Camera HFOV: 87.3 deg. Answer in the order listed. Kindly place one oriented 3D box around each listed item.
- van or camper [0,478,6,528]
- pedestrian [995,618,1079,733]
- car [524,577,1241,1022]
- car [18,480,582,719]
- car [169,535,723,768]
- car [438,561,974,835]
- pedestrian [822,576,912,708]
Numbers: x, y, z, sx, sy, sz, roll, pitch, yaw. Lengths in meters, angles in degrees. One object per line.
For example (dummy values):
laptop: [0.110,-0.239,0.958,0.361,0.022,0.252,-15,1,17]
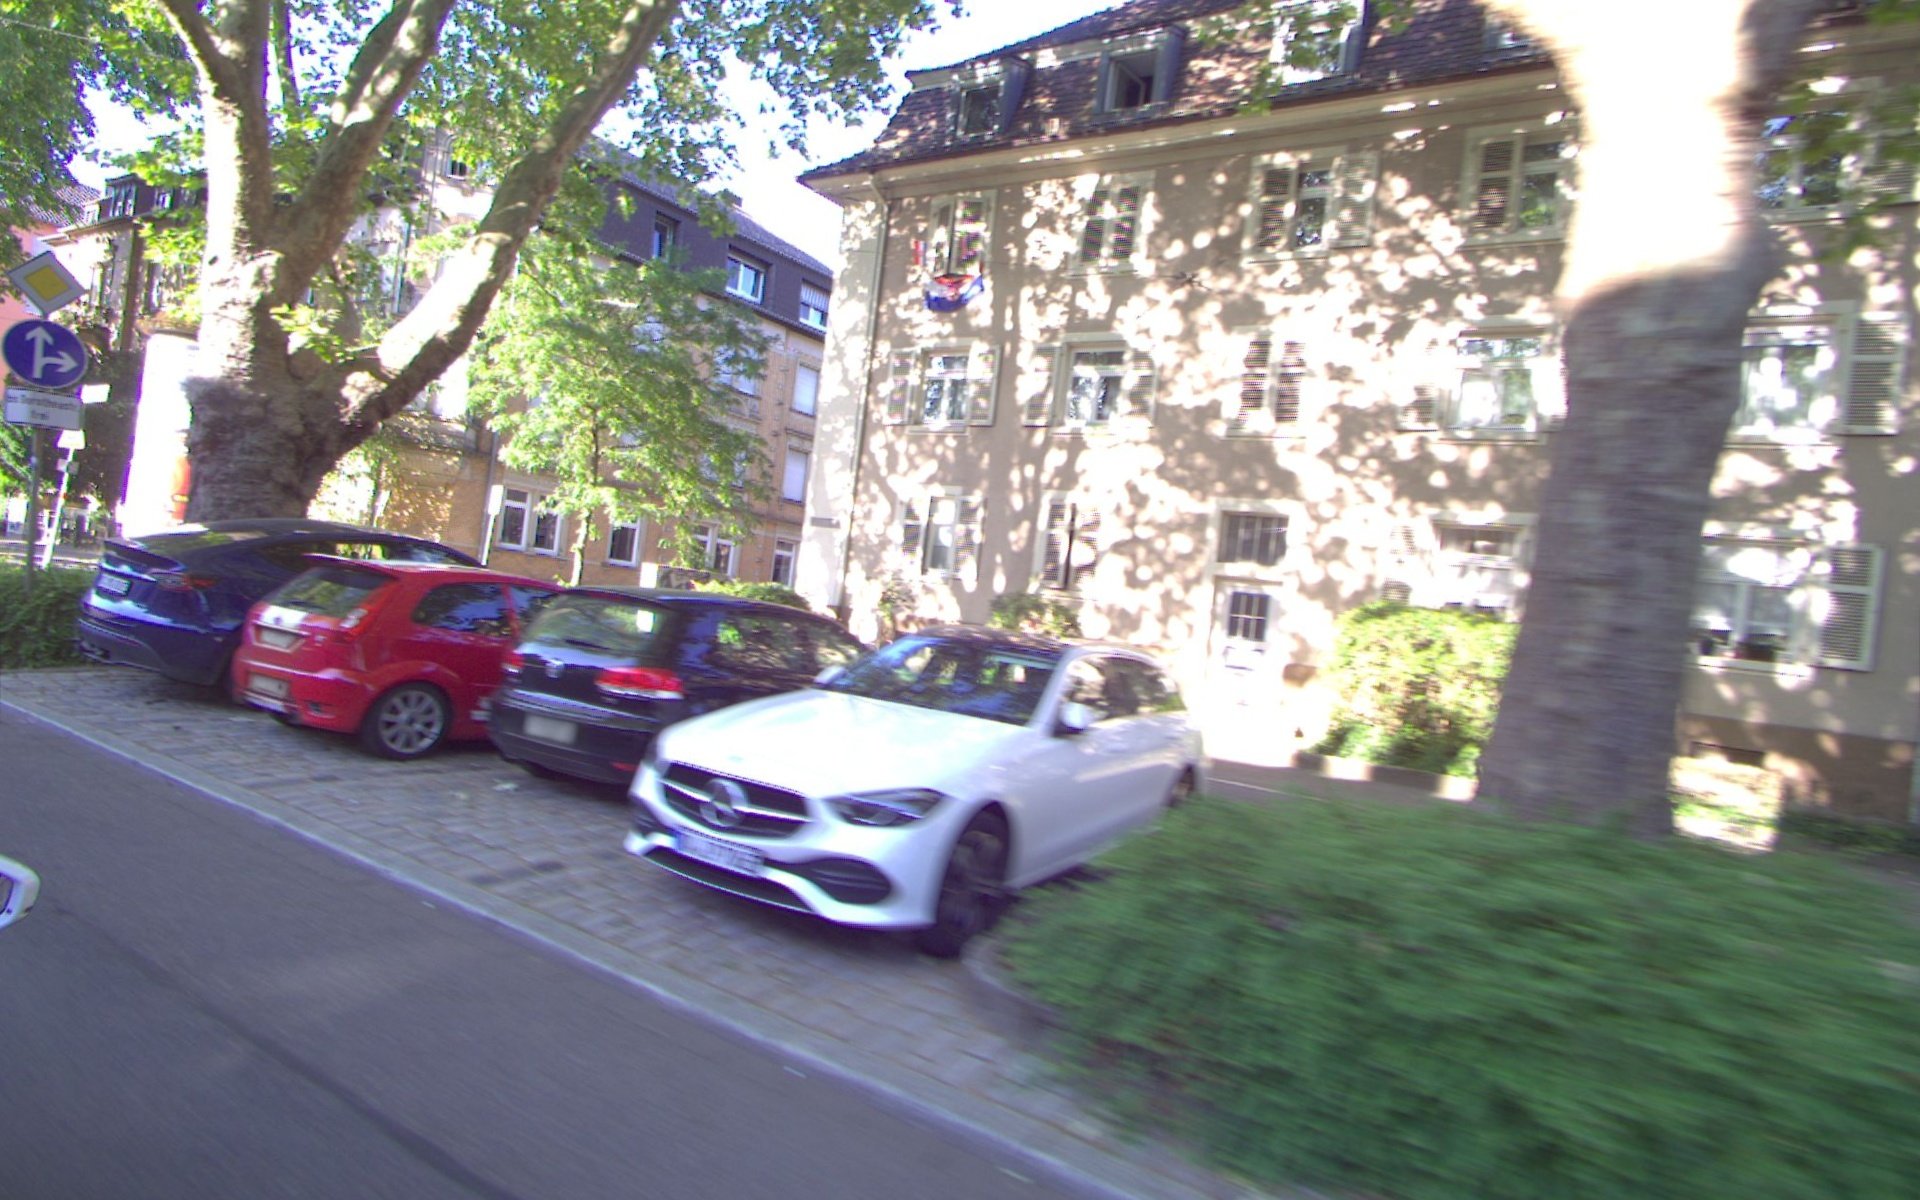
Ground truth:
van or camper: [-25.476,-2.280,22.430,2.205,2.038,5.569,10,0,27]
pedestrian: [1.072,1.042,13.985,0.807,1.473,0.662,7,0,31]
car: [0.069,0.909,6.131,1.860,1.463,4.695,7,-1,31]
car: [-5.942,0.103,9.580,1.927,1.690,3.932,7,-1,29]
car: [-4.059,0.458,8.515,1.858,1.394,3.656,7,-1,32]
car: [-1.671,0.713,7.900,1.724,1.452,3.889,7,-1,31]
pedestrian: [-1.325,0.601,14.364,0.807,1.760,0.761,7,0,31]
